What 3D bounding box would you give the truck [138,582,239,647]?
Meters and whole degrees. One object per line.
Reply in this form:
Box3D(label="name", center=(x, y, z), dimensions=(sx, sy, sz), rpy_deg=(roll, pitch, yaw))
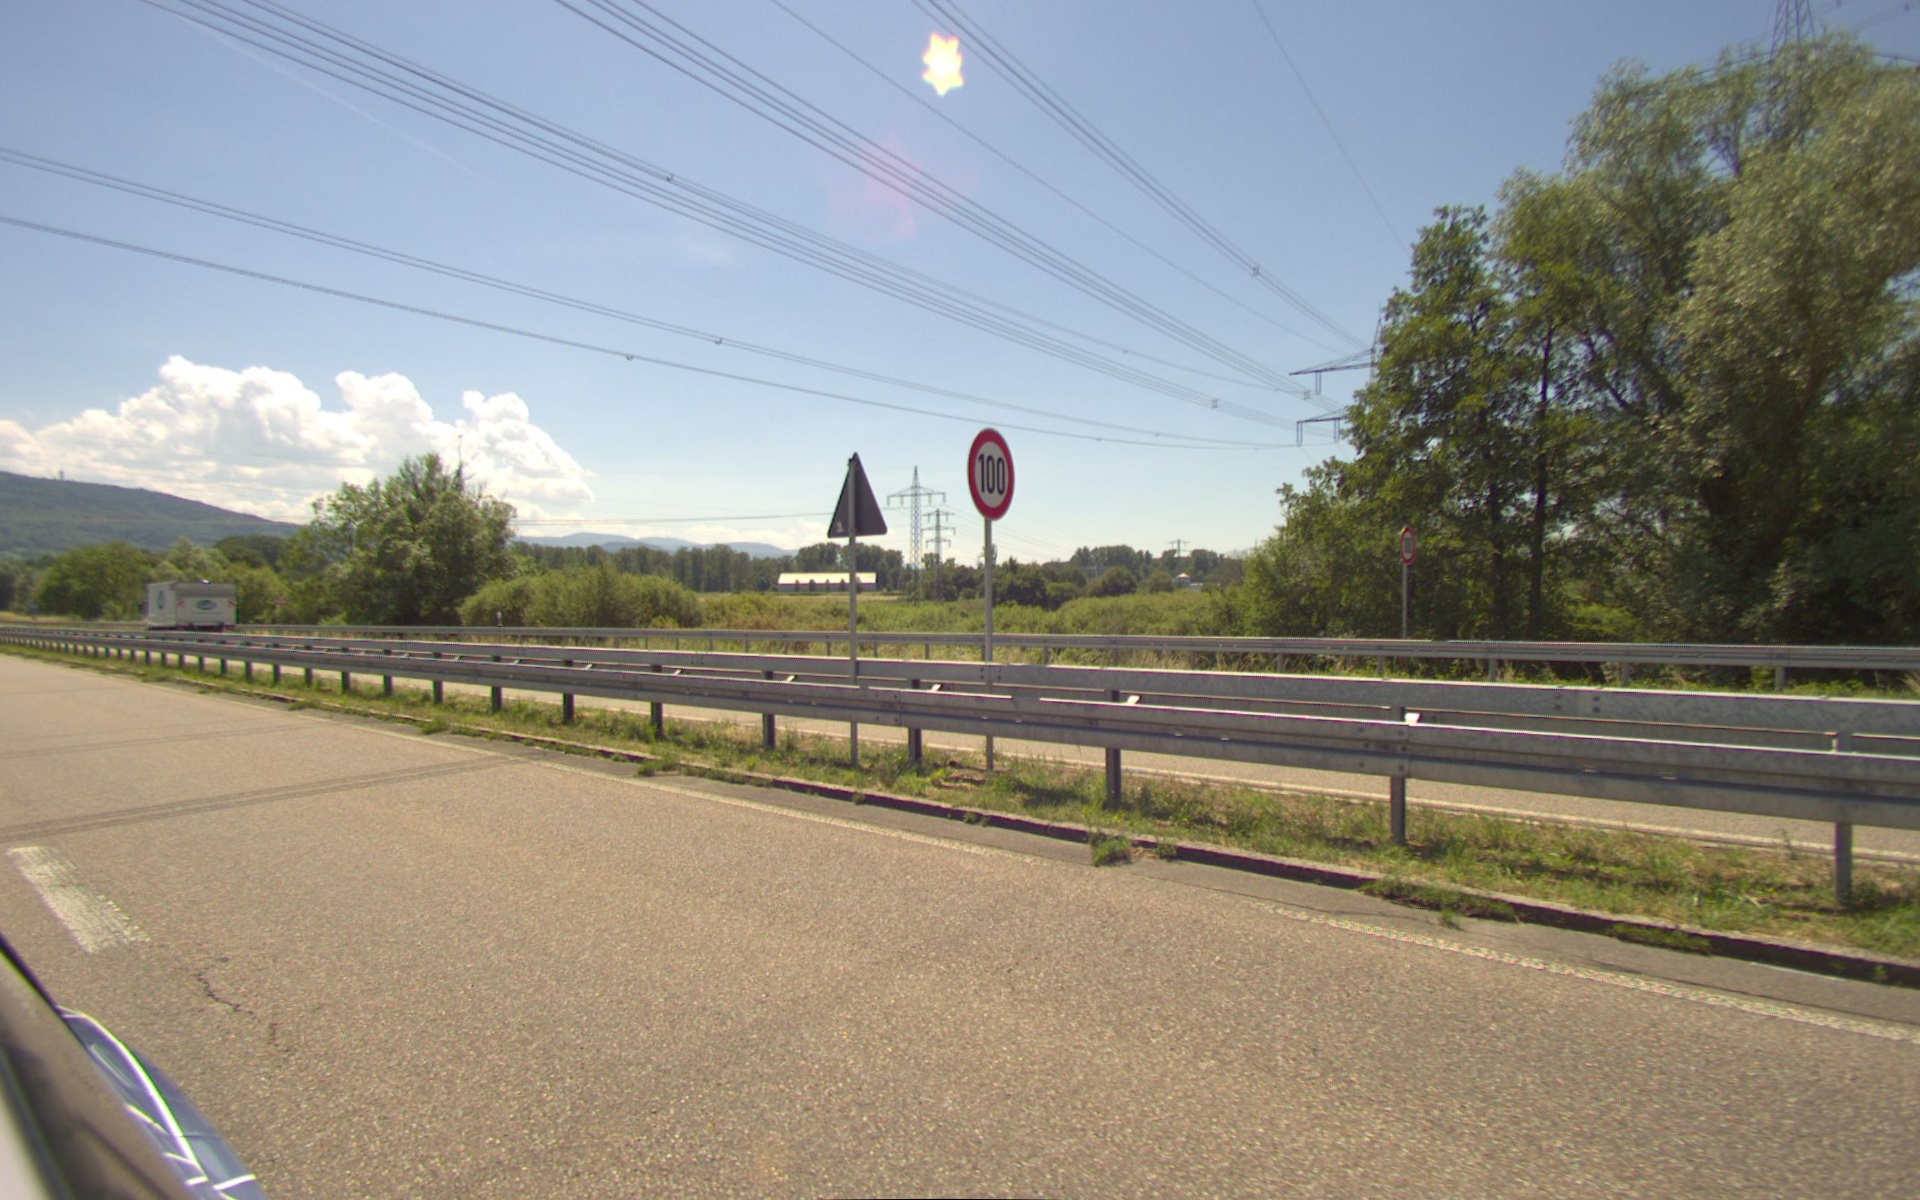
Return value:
Box3D(label="truck", center=(-41.456, 0.799, 54.279), dimensions=(8.401, 3.217, 2.690), rpy_deg=(-1, -1, 41))
